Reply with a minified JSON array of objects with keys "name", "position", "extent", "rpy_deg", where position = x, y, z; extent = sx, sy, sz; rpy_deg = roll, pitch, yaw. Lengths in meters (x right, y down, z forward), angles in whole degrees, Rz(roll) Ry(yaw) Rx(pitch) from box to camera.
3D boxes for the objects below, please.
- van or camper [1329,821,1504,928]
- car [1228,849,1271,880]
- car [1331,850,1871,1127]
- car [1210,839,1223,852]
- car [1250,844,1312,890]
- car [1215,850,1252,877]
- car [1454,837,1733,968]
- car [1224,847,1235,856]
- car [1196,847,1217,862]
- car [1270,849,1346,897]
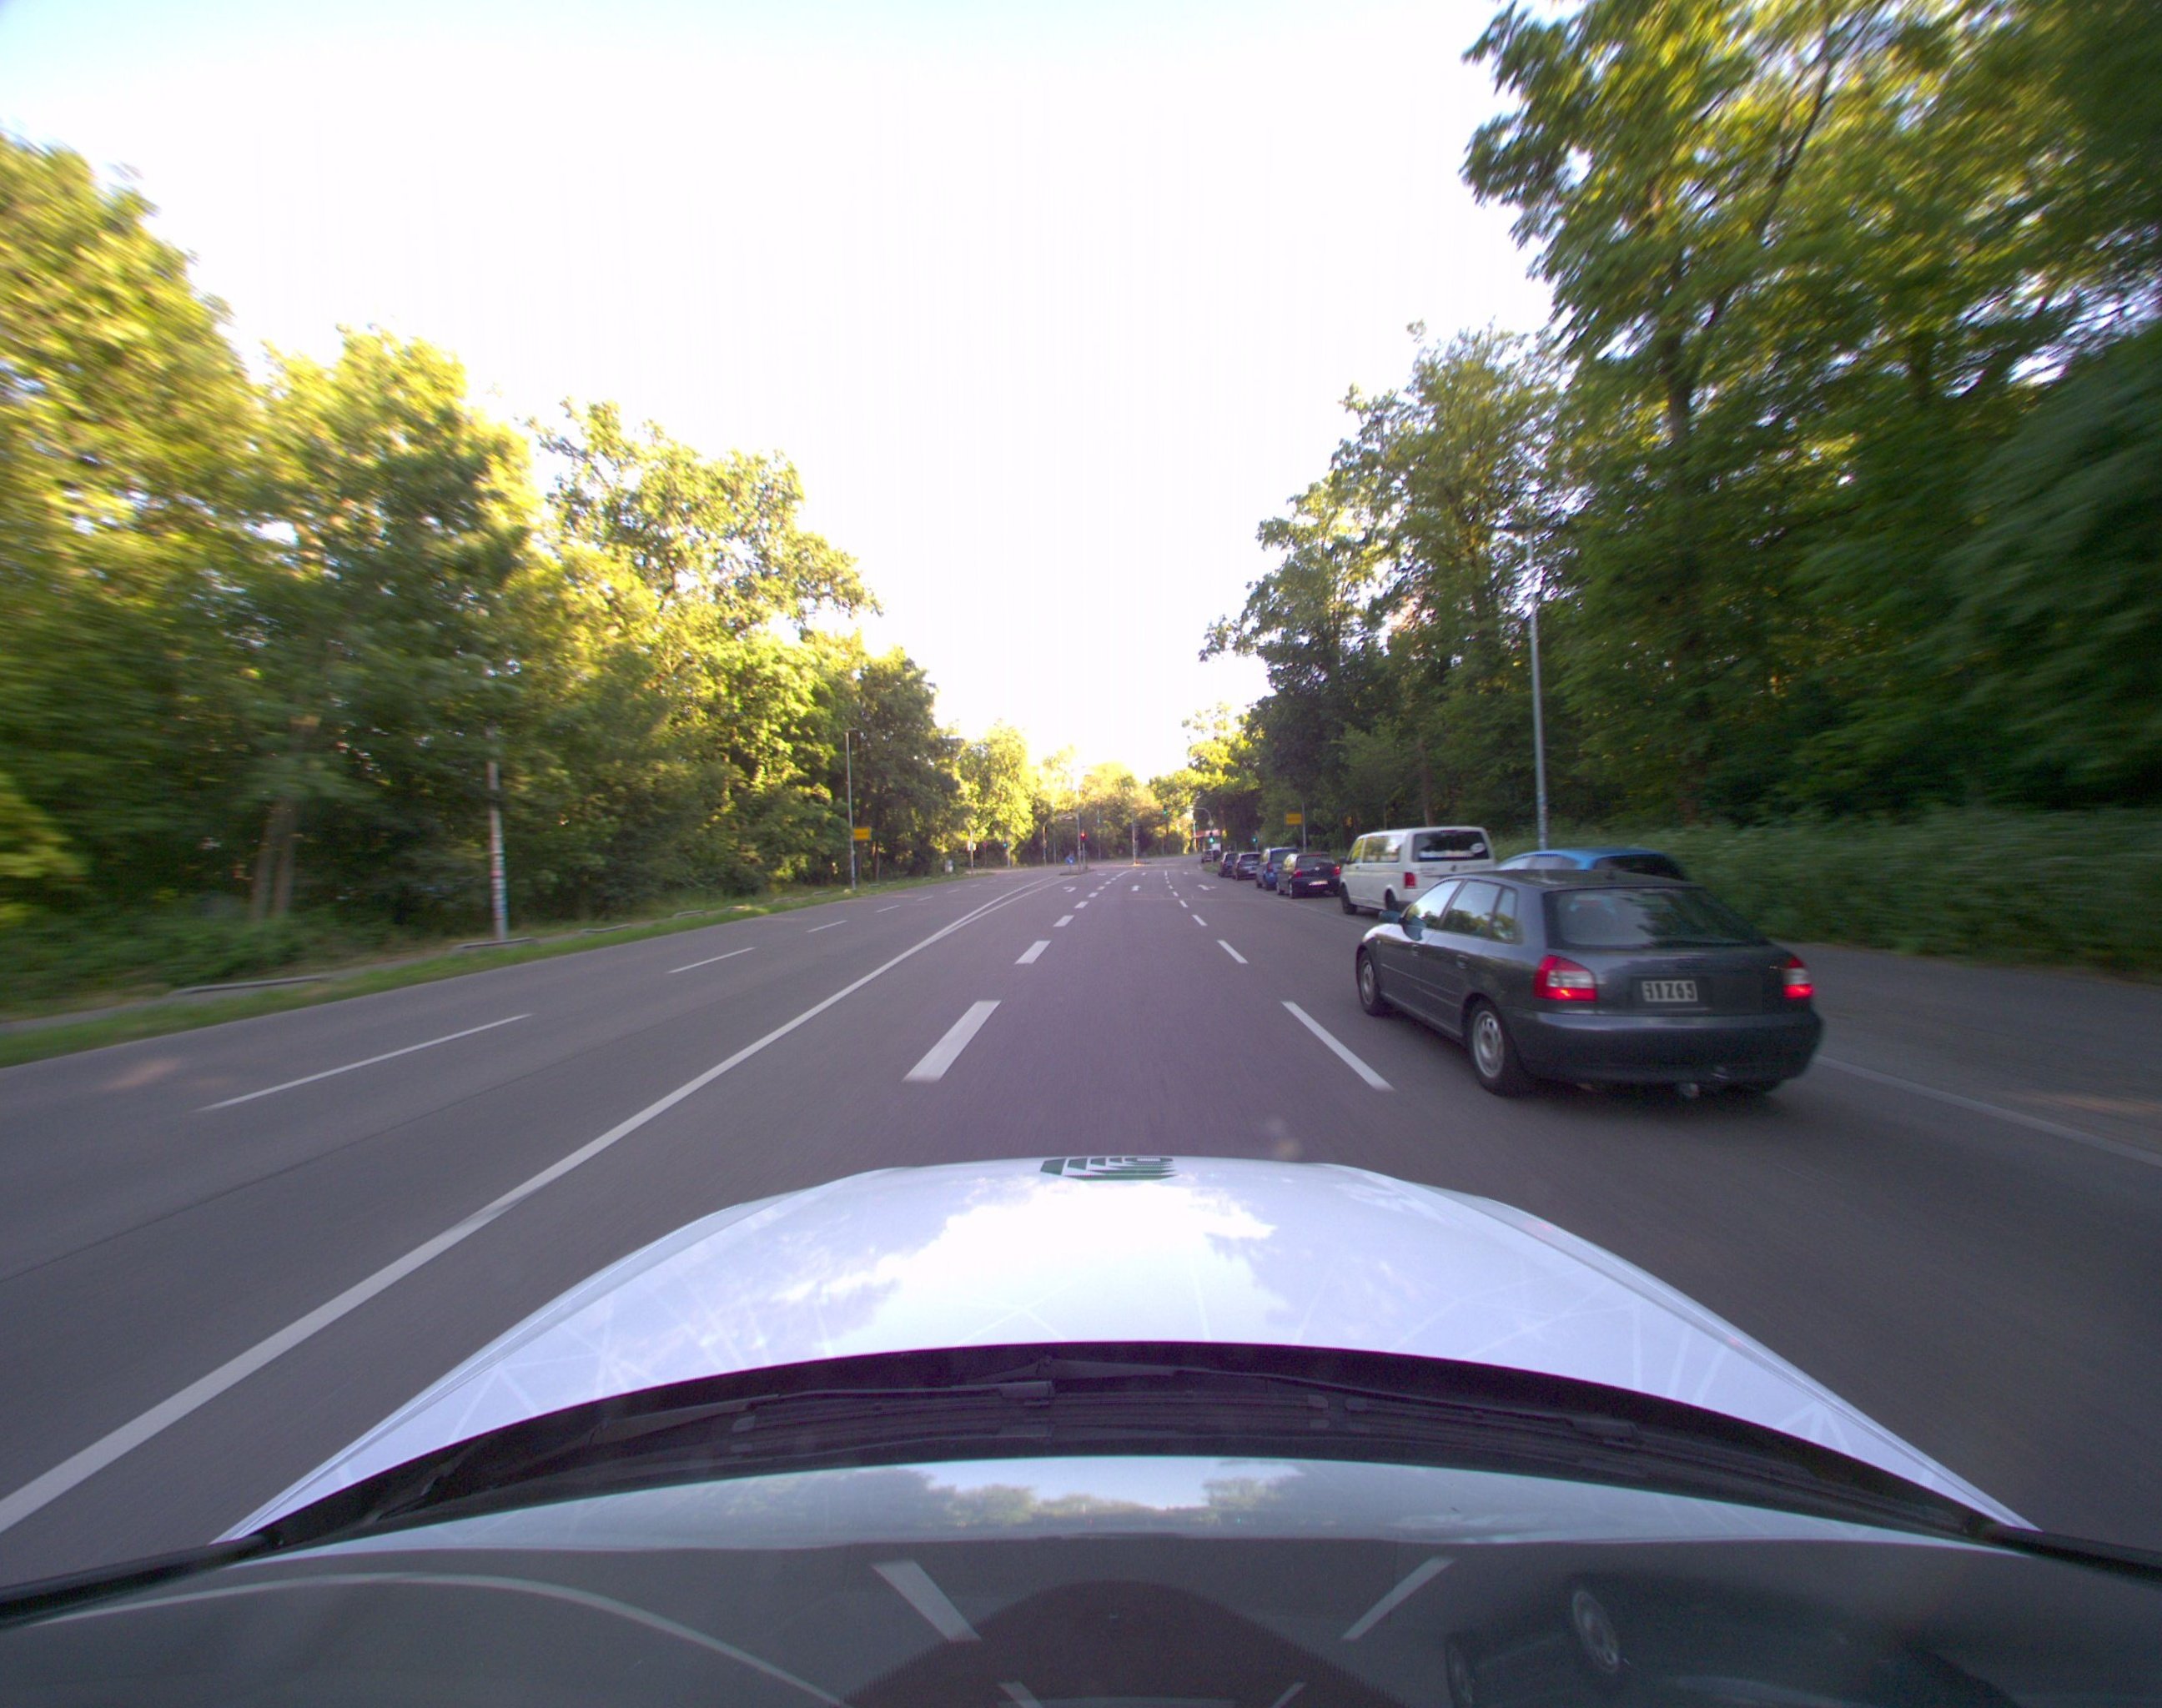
[{"name":"van or camper","position":[7.109,0.373,17.964],"extent":[1.825,1.970,5.345],"rpy_deg":[-1,0,2]},{"name":"car","position":[8.989,0.531,43.644],"extent":[1.719,1.490,4.095],"rpy_deg":[-3,0,5]},{"name":"car","position":[3.400,0.712,6.396],"extent":[1.721,1.441,4.092],"rpy_deg":[-1,0,2]},{"name":"car","position":[25.056,-1.624,150.915],"extent":[2.294,2.335,4.571],"rpy_deg":[-2,0,9]},{"name":"car","position":[8.042,0.497,33.061],"extent":[1.720,1.704,4.094],"rpy_deg":[-2,0,4]},{"name":"car","position":[9.165,0.545,49.147],"extent":[1.719,1.461,4.173],"rpy_deg":[-3,0,5]},{"name":"car","position":[7.061,0.584,11.745],"extent":[1.641,1.522,3.868],"rpy_deg":[-2,0,2]},{"name":"car","position":[32.077,-0.469,176.318],"extent":[1.983,1.904,4.007],"rpy_deg":[-2,0,6]},{"name":"car","position":[14.792,0.101,96.255],"extent":[1.985,1.618,4.004],"rpy_deg":[-3,0,4]},{"name":"car","position":[7.572,0.595,27.539],"extent":[1.643,1.441,4.117],"rpy_deg":[-2,0,4]}]
